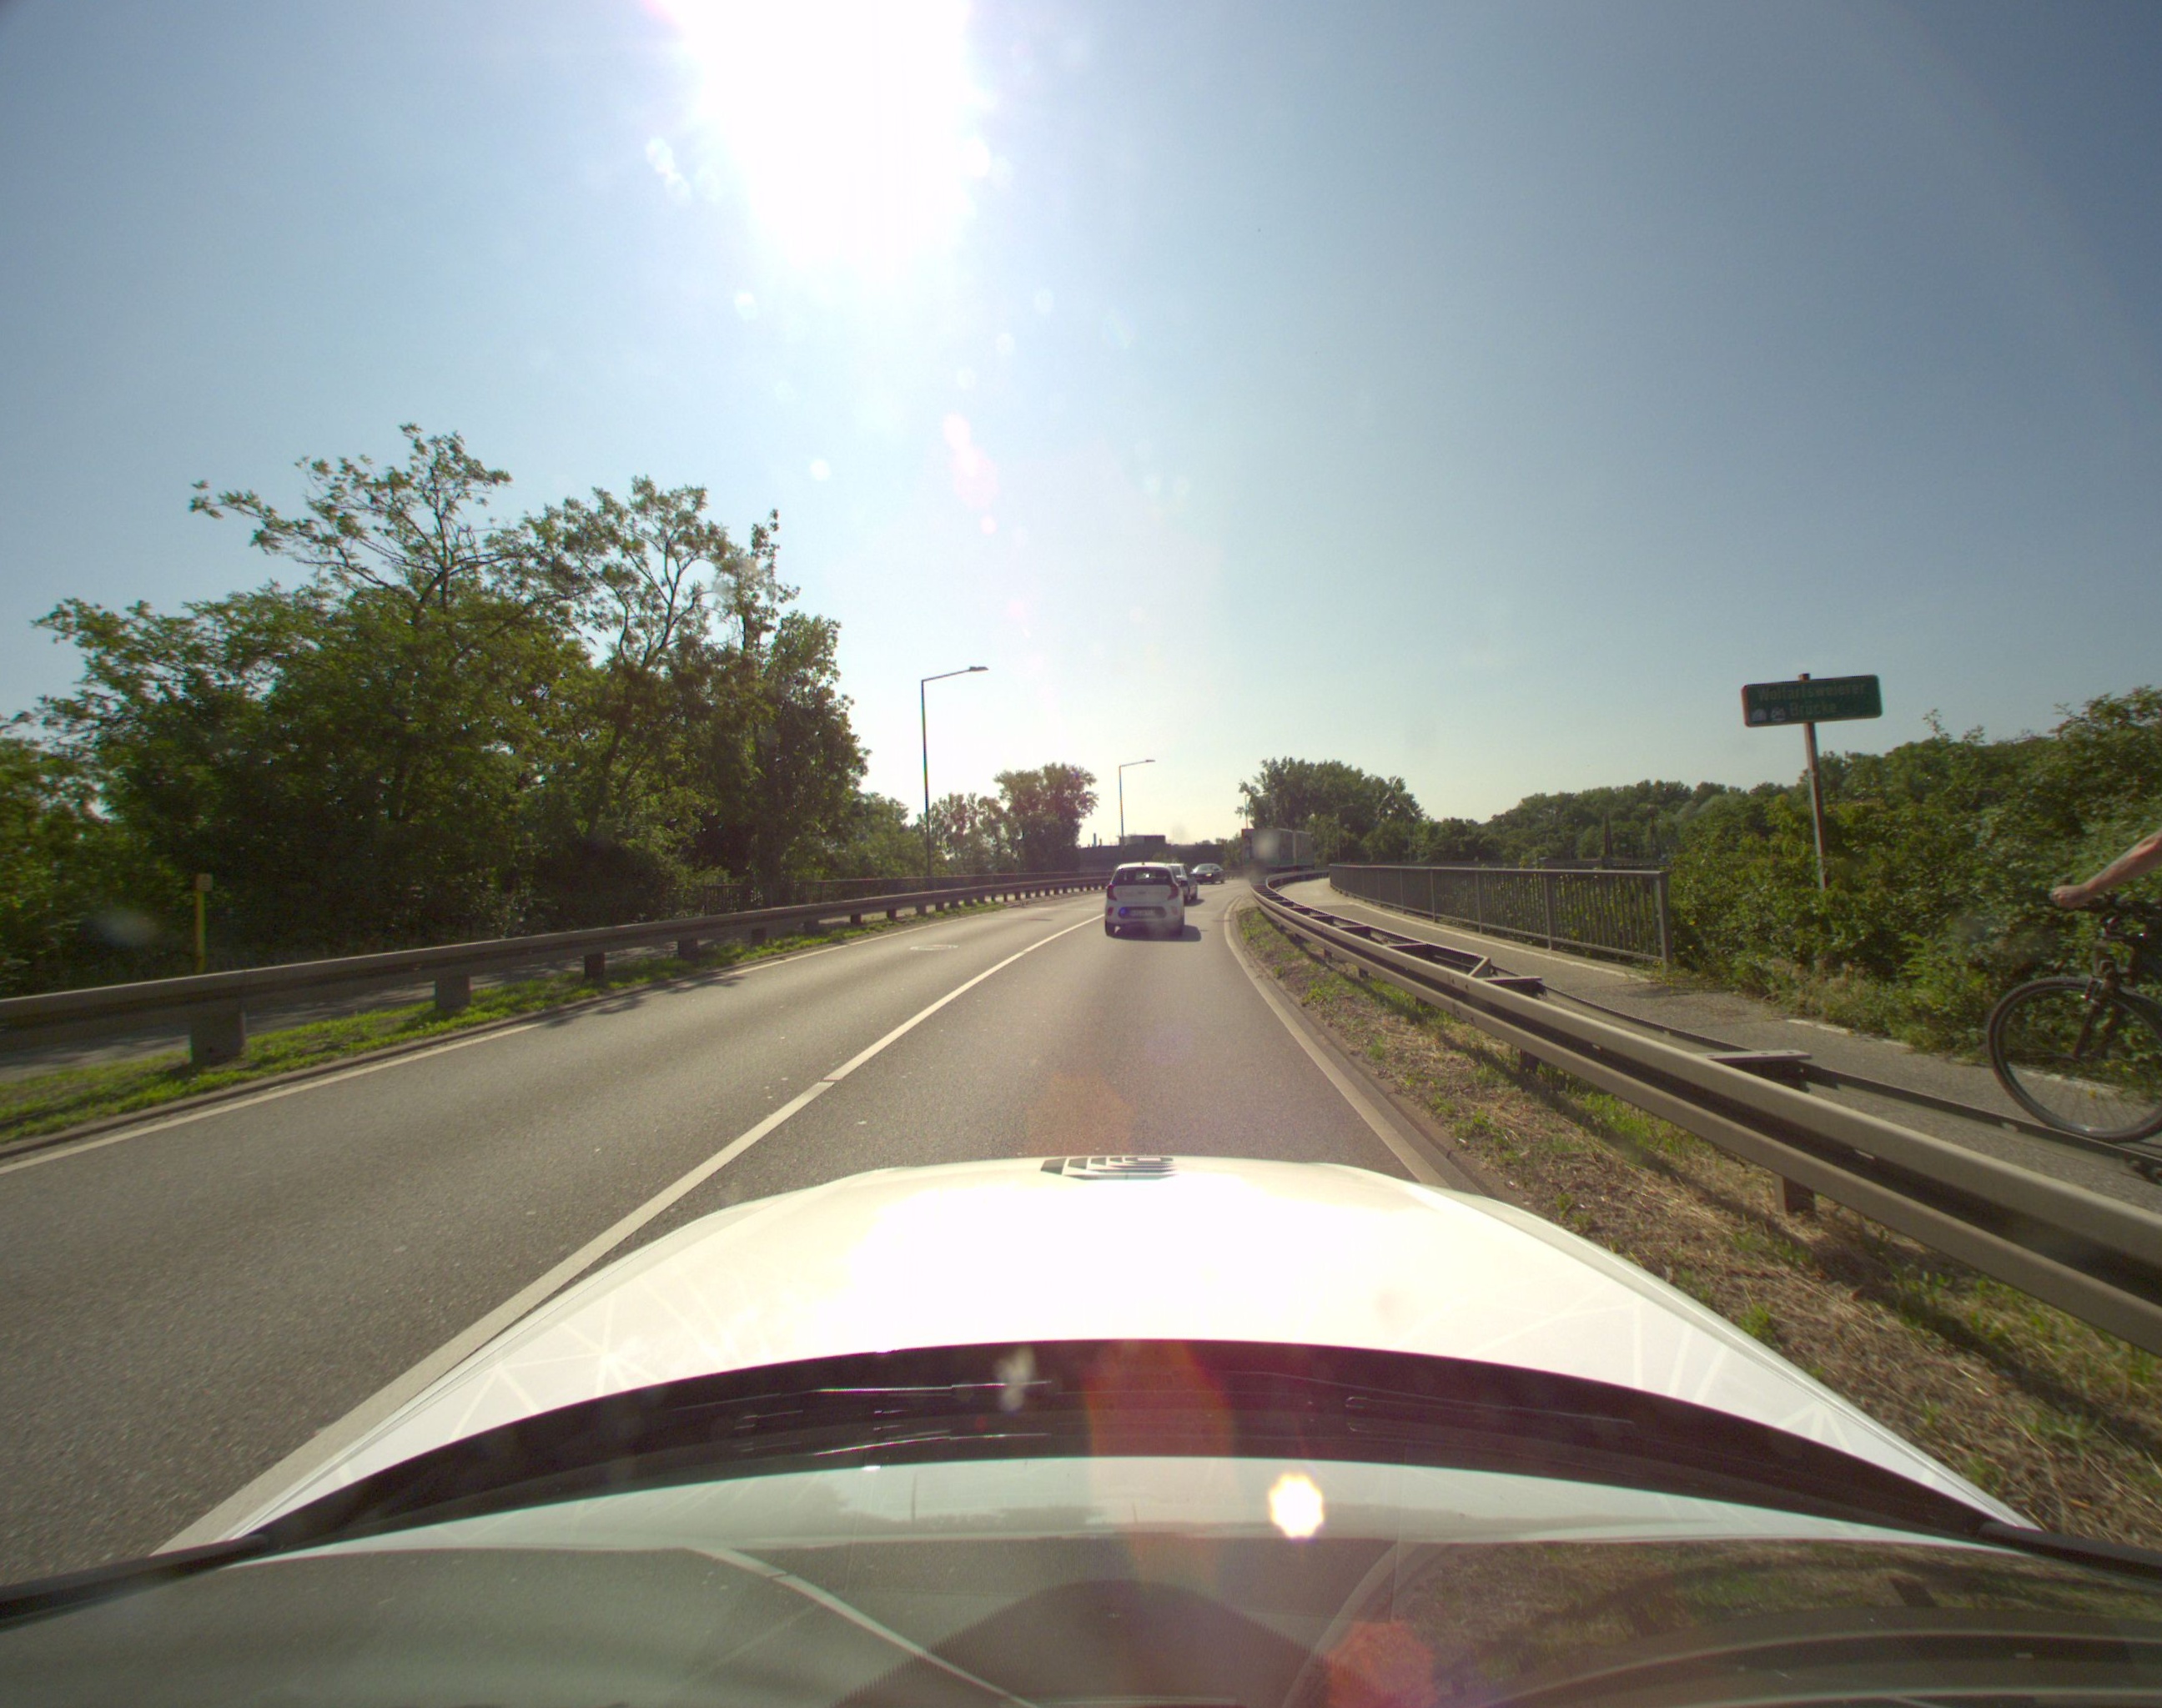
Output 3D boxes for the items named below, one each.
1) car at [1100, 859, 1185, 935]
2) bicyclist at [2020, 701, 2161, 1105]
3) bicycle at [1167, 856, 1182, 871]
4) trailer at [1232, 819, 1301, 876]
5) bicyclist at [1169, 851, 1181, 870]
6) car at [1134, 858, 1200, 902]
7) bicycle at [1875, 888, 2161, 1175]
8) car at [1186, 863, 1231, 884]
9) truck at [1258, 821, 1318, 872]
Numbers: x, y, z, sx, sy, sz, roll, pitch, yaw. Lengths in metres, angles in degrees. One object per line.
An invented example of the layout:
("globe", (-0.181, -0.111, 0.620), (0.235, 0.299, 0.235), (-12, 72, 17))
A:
("car", (1.462, 0.869, 18.235), (1.692, 1.494, 4.008), (0, 0, 7))
("bicyclist", (4.378, 0.168, 3.035), (0.656, 1.520, 0.802), (-4, -3, -2))
("bicycle", (7.453, 0.754, 64.514), (0.607, 1.135, 2.160), (-5, -3, 20))
("trailer", (13.261, -0.522, 57.599), (3.195, 3.758, 7.870), (1, 1, 25))
("bicyclist", (7.420, 0.513, 64.456), (0.603, 1.439, 1.083), (-4, -3, 20))
("car", (3.254, 0.906, 29.905), (1.926, 1.486, 4.916), (0, -1, 12))
("bicycle", (4.408, 0.682, 3.180), (0.700, 1.020, 1.844), (-5, -1, -2))
("car", (8.924, 1.330, 56.659), (1.939, 1.380, 4.327), (-1, -1, 25))
("truck", (16.585, -0.648, 64.822), (3.231, 3.758, 8.418), (1, 1, 24))
